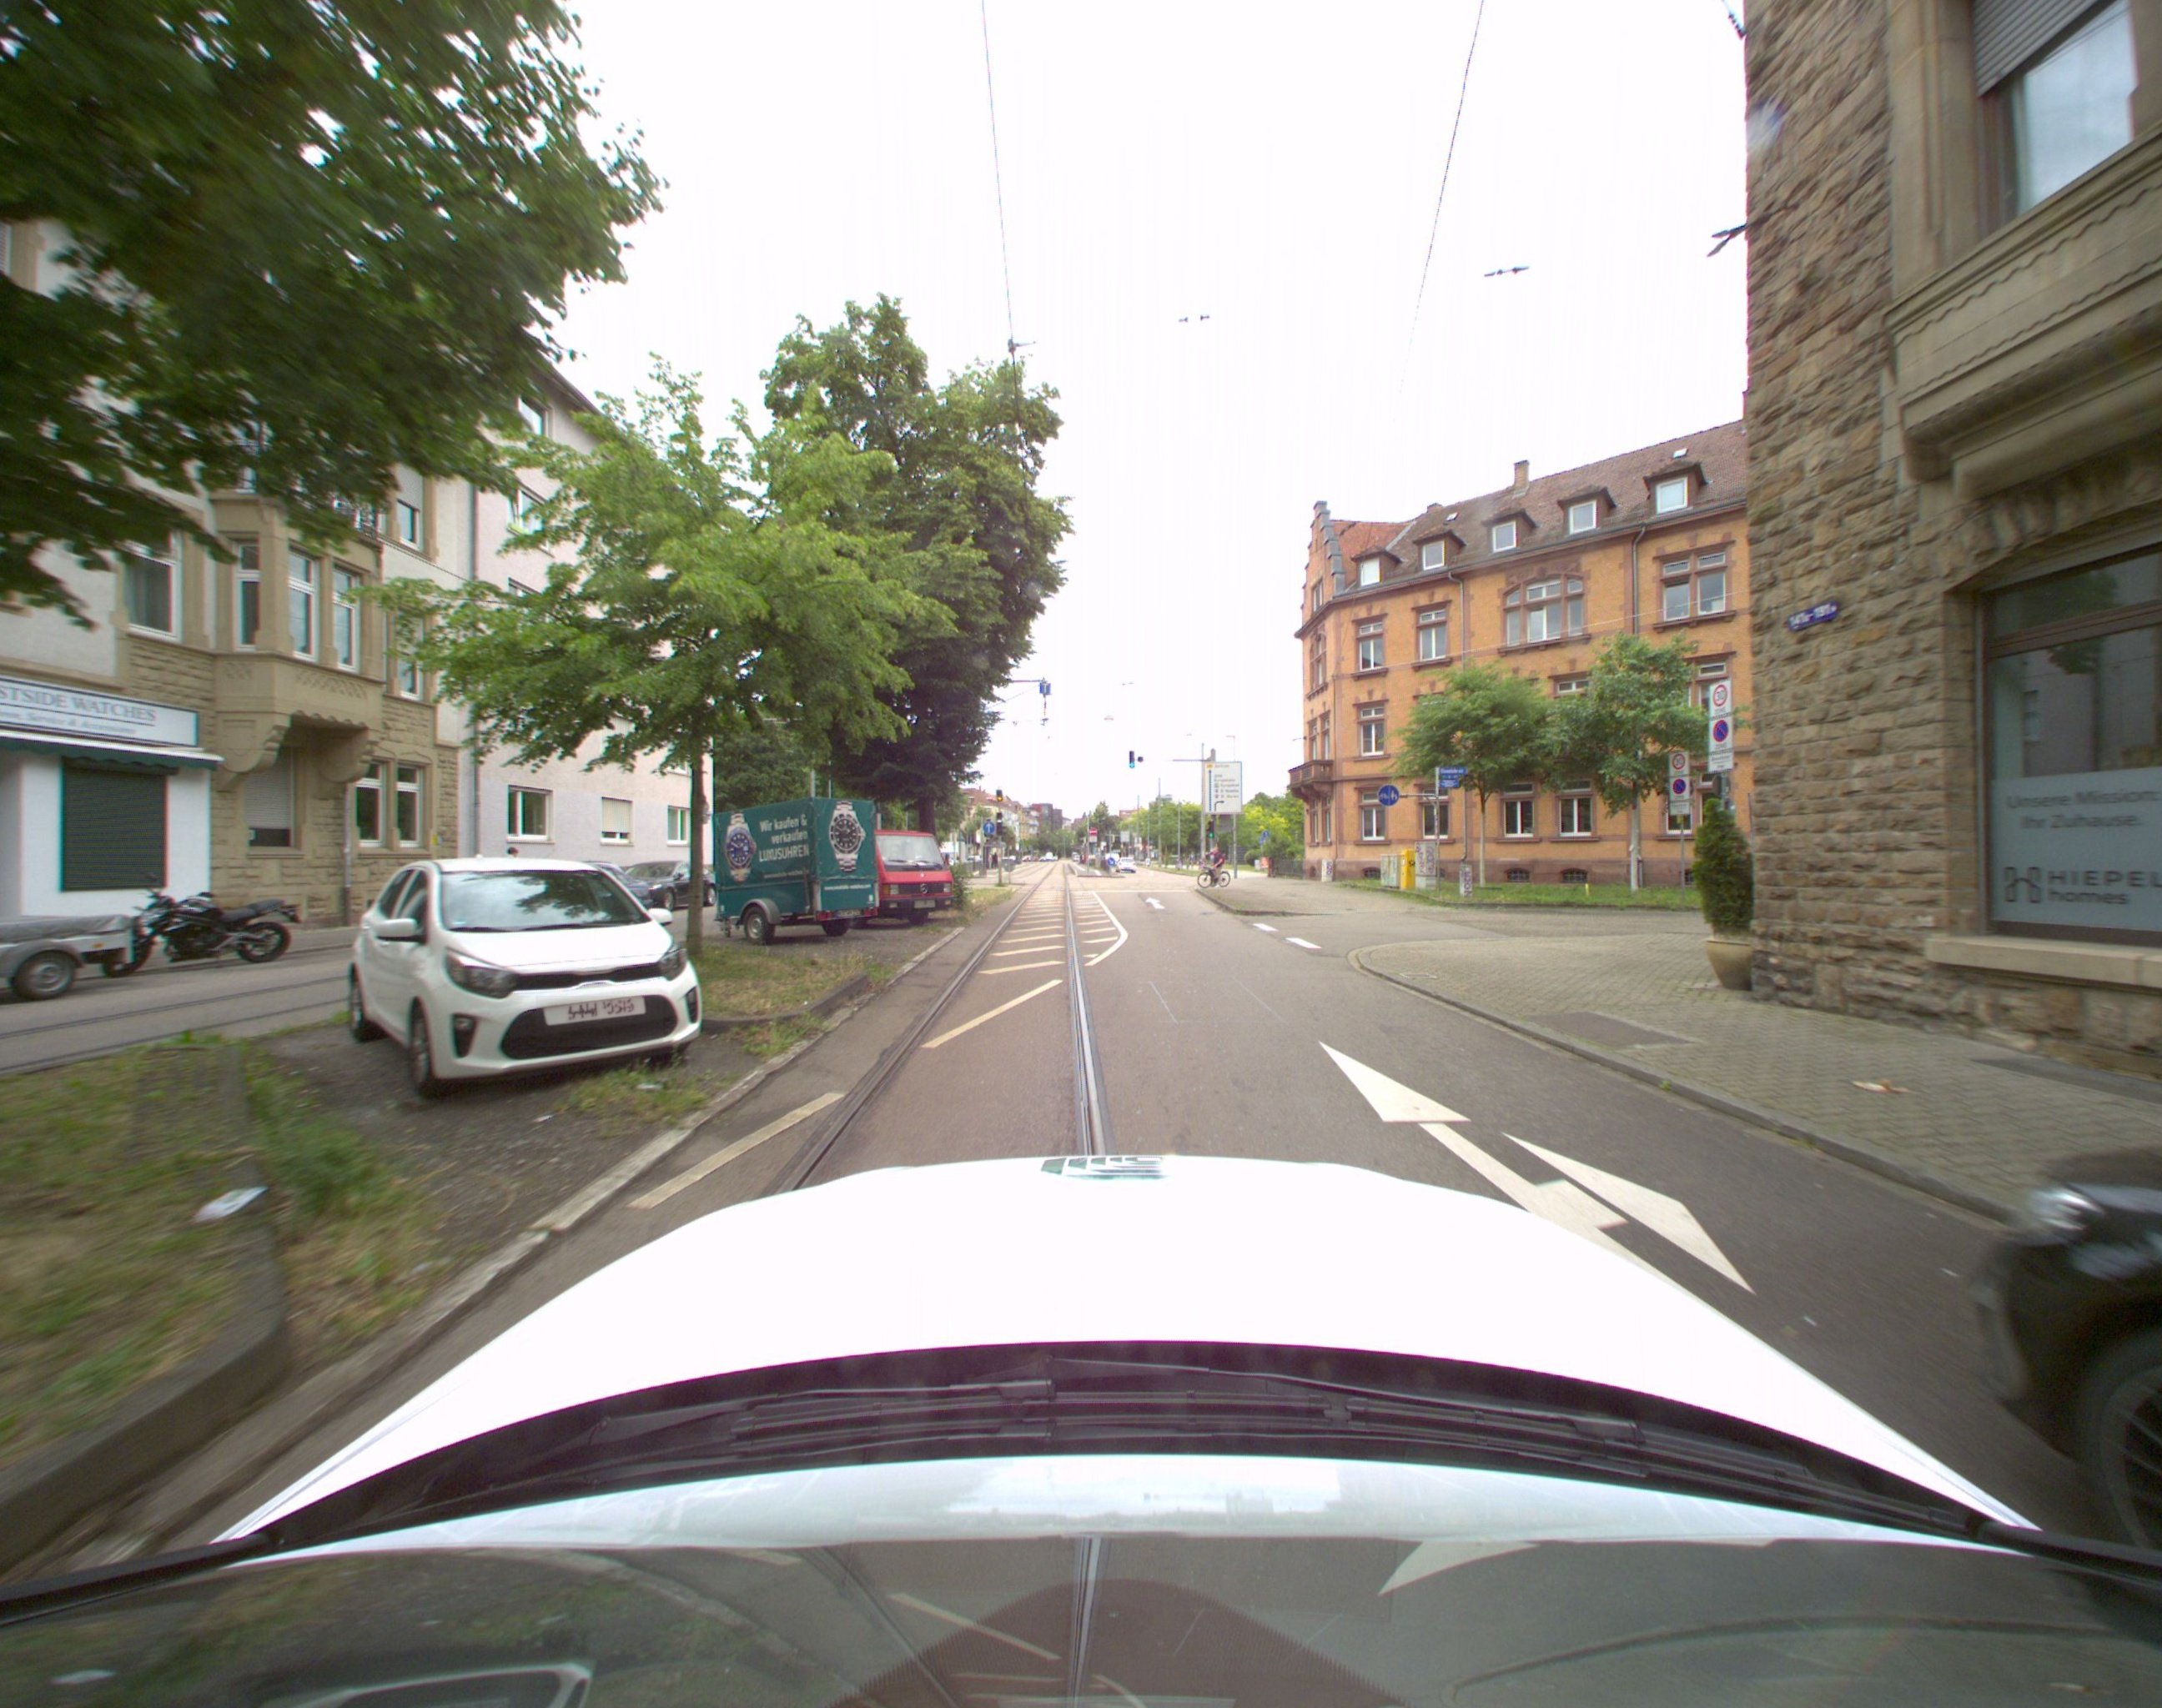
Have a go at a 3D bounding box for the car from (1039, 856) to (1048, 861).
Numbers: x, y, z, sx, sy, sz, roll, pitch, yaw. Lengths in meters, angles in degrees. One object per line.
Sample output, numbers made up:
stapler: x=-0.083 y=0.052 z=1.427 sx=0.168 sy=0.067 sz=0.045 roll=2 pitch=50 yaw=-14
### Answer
car: x=-10.010 y=1.232 z=215.845 sx=1.762 sy=1.493 sz=3.892 roll=0 pitch=-1 yaw=5

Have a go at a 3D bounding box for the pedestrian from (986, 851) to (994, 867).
pedestrian: x=-9.616 y=0.545 z=86.207 sx=0.767 sy=1.660 sz=1.023 roll=-1 pitch=0 yaw=-4

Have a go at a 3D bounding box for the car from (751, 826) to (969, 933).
car: x=-4.766 y=0.493 z=17.257 sx=4.706 sy=1.974 sz=1.972 roll=-1 pitch=0 yaw=37

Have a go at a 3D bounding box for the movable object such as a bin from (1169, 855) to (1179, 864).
movable object such as a bin: x=13.953 y=0.785 z=122.309 sx=1.278 sy=1.390 sz=1.158 roll=0 pitch=-1 yaw=-1

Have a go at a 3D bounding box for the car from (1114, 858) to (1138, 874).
car: x=4.310 y=1.144 z=77.887 sx=1.779 sy=1.472 sz=4.003 roll=0 pitch=0 yaw=-5

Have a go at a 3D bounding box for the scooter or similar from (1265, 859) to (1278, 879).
scooter or similar: x=11.018 y=0.853 z=47.079 sx=0.375 sy=1.141 sz=1.198 roll=-1 pitch=0 yaw=-4

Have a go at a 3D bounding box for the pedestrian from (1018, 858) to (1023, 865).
pedestrian: x=-10.312 y=1.263 z=139.509 sx=0.863 sy=1.267 sz=0.693 roll=-1 pitch=0 yaw=-4

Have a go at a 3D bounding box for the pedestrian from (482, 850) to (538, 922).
pedestrian: x=-14.421 y=0.789 z=20.591 sx=0.795 sy=1.766 sz=0.899 roll=-1 pitch=0 yaw=-3

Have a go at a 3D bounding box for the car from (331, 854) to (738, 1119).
car: x=-4.452 y=0.747 z=6.407 sx=3.814 sy=1.463 sz=1.700 roll=-1 pitch=0 yaw=41

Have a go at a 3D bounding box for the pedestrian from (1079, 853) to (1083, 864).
pedestrian: x=-0.006 y=0.693 z=122.861 sx=0.530 sy=1.558 sz=0.571 roll=-1 pitch=-1 yaw=2

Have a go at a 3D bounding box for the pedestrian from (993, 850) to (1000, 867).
pedestrian: x=-8.550 y=0.491 z=82.528 sx=0.699 sy=1.715 sz=0.697 roll=-1 pitch=-1 yaw=-10

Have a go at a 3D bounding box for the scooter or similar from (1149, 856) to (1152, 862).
scooter or similar: x=12.630 y=0.968 z=148.485 sx=0.373 sy=1.141 sz=1.203 roll=-1 pitch=0 yaw=10

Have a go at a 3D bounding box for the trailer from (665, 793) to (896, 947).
trailer: x=-5.265 y=0.256 z=14.222 sx=3.624 sy=2.344 sz=1.943 roll=-1 pitch=0 yaw=31

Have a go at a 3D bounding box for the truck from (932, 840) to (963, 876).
truck: x=-12.133 y=0.384 z=74.483 sx=2.180 sy=3.157 sz=7.320 roll=0 pitch=-1 yaw=-4

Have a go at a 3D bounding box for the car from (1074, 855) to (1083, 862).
car: x=-0.573 y=1.041 z=189.259 sx=1.761 sy=1.493 sz=3.892 roll=0 pitch=-1 yaw=5

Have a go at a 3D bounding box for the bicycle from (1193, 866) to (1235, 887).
bicycle: x=5.993 y=1.008 z=36.665 sx=1.875 sy=0.924 sz=0.788 roll=0 pitch=0 yaw=-34

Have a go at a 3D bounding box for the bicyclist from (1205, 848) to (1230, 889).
bicyclist: x=6.110 y=0.632 z=36.486 sx=0.684 sy=1.795 sz=0.882 roll=0 pitch=0 yaw=-33

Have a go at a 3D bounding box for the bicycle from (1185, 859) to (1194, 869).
bicycle: x=11.426 y=1.074 z=85.934 sx=0.652 sy=1.003 sz=1.778 roll=0 pitch=0 yaw=-1

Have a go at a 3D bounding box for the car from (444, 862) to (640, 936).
car: x=-12.055 y=0.918 z=18.640 sx=1.631 sy=1.443 sz=4.565 roll=0 pitch=0 yaw=-3

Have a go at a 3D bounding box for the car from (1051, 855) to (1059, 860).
car: x=-7.869 y=1.142 z=245.610 sx=1.762 sy=1.493 sz=3.892 roll=0 pitch=-1 yaw=5

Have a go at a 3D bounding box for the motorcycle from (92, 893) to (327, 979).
motorcycle: x=-12.496 y=1.128 z=11.812 sx=0.703 sy=1.038 sz=2.239 roll=-1 pitch=0 yaw=15

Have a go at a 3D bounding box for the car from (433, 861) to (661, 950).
car: x=-9.381 y=0.832 z=14.734 sx=1.640 sy=1.382 sz=3.880 roll=0 pitch=-1 yaw=-2

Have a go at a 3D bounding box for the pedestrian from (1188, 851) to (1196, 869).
pedestrian: x=11.697 y=0.640 z=85.893 sx=0.737 sy=1.869 sz=0.681 roll=-1 pitch=0 yaw=-2

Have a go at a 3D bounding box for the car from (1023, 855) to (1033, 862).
car: x=-12.596 y=1.092 z=192.082 sx=1.762 sy=1.493 sz=3.892 roll=0 pitch=-1 yaw=5

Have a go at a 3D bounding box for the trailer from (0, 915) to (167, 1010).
trailer: x=-12.156 y=1.230 z=8.658 sx=1.451 sy=0.893 sz=3.073 roll=-2 pitch=0 yaw=-3

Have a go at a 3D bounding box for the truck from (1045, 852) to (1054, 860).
truck: x=-8.847 y=0.547 z=228.069 sx=1.779 sy=2.032 sz=5.403 roll=0 pitch=-1 yaw=5

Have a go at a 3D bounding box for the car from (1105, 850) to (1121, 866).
car: x=4.084 y=0.528 z=104.109 sx=1.778 sy=1.962 sz=4.379 roll=0 pitch=0 yaw=-2

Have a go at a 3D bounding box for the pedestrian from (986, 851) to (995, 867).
pedestrian: x=-9.251 y=0.536 z=83.375 sx=0.673 sy=1.624 sz=0.636 roll=-1 pitch=-1 yaw=16

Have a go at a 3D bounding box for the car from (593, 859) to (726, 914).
car: x=-12.234 y=0.879 z=24.019 sx=1.631 sy=1.443 sz=4.758 roll=0 pitch=0 yaw=-3
